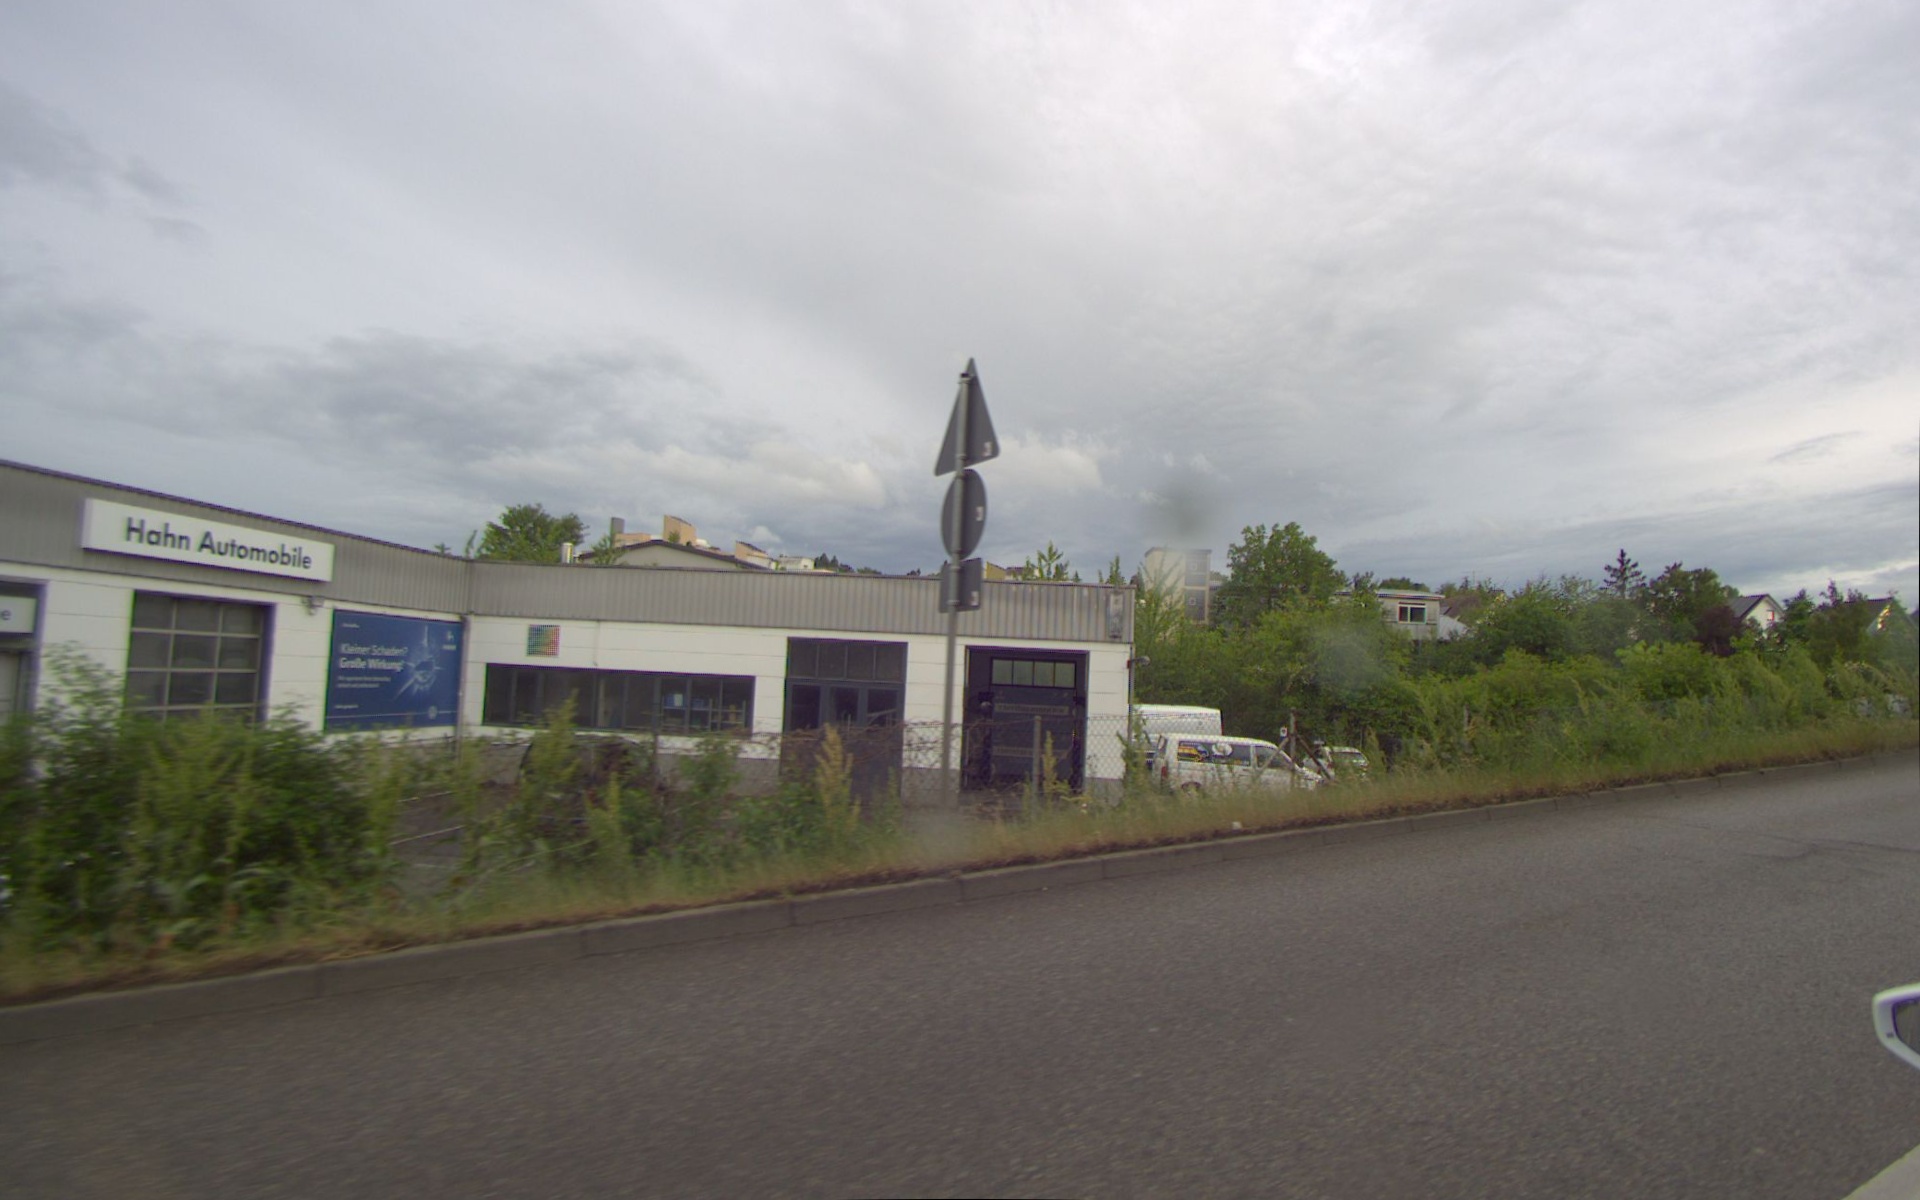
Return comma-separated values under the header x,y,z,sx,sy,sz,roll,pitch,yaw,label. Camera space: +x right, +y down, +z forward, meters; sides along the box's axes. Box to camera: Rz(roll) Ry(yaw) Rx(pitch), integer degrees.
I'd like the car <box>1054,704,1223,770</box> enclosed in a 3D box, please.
x,y,z,sx,sy,sz,roll,pitch,yaw,label
7.152,5.537,40.762,6.464,2.492,1.987,-1,-6,1,car

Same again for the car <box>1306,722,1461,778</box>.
x,y,z,sx,sy,sz,roll,pitch,yaw,label
14.806,5.246,35.283,4.549,1.713,1.870,-3,-7,0,car

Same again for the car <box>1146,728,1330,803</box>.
x,y,z,sx,sy,sz,roll,pitch,yaw,label
7.714,4.610,28.233,4.549,1.826,1.870,-3,-7,0,car

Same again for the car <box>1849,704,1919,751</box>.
x,y,z,sx,sy,sz,roll,pitch,yaw,label
34.144,4.527,35.930,4.001,1.543,1.652,1,-4,-17,car

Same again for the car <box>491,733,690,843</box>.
x,y,z,sx,sy,sz,roll,pitch,yaw,label
-7.219,3.661,20.229,1.830,1.825,4.648,-3,-7,7,car
